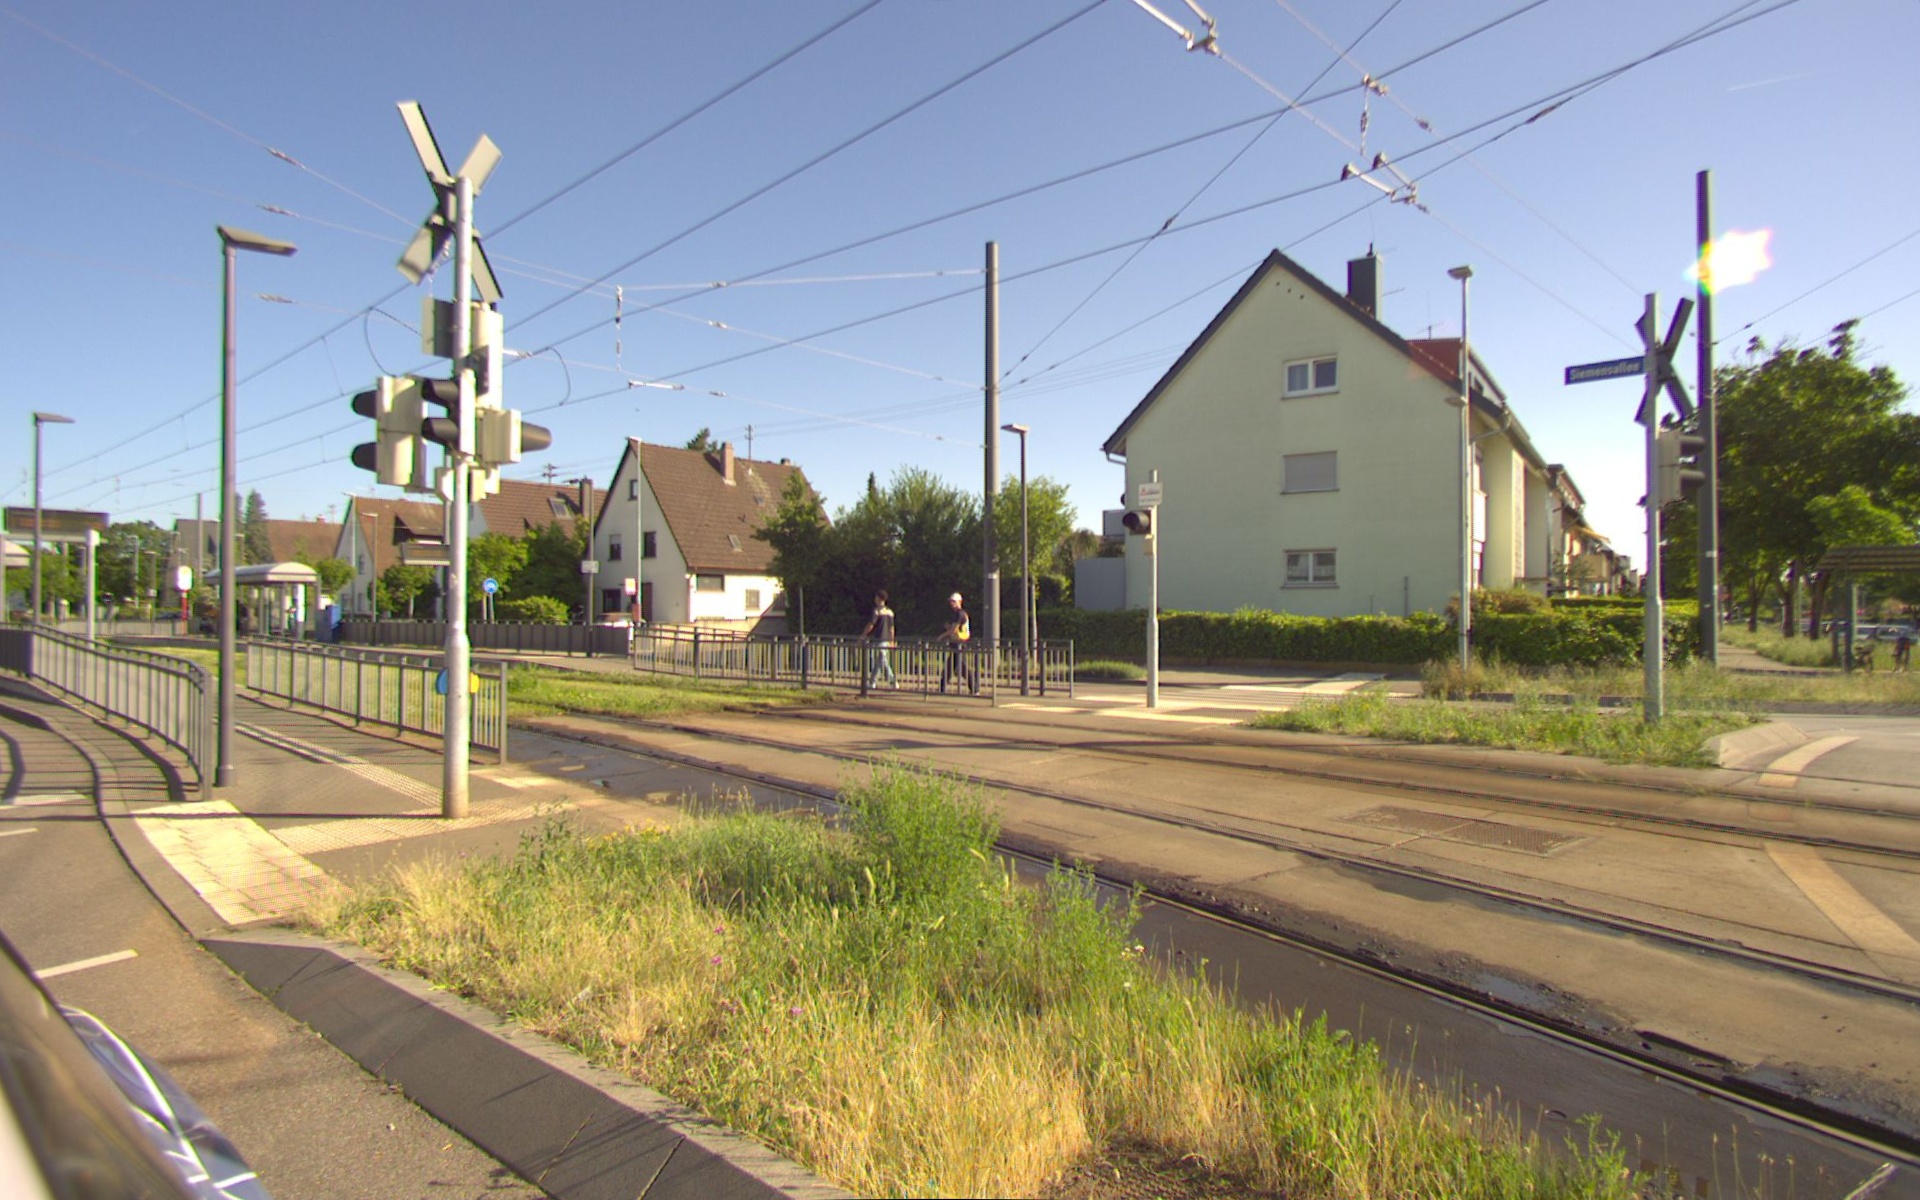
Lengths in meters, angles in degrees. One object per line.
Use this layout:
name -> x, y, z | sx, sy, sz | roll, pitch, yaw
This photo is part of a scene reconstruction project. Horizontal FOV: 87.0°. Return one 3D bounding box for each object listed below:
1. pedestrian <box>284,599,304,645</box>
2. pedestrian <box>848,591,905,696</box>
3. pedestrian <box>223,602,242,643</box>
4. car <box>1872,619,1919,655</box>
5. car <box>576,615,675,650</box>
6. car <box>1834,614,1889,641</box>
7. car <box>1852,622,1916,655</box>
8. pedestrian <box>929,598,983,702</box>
pedestrian -> -26.016, 0.861, 39.514 | 0.612, 1.766, 0.443 | 1, -1, -30
pedestrian -> -1.480, 0.752, 17.993 | 0.818, 1.784, 0.686 | 1, 2, 16
pedestrian -> -31.631, 0.966, 43.992 | 0.543, 1.766, 0.528 | -1, -2, 40
car -> 41.620, 1.591, 44.511 | 1.823, 1.403, 3.745 | -1, 1, 36
car -> -15.486, 1.486, 47.005 | 1.997, 1.547, 3.941 | -1, -1, 37
car -> 49.102, 1.493, 55.183 | 1.823, 1.403, 3.822 | -1, -2, 36
car -> 45.450, 1.858, 49.847 | 1.823, 1.403, 3.822 | -1, 1, 36
pedestrian -> -0.065, 0.819, 17.040 | 0.721, 1.673, 0.792 | 1, 2, 16
